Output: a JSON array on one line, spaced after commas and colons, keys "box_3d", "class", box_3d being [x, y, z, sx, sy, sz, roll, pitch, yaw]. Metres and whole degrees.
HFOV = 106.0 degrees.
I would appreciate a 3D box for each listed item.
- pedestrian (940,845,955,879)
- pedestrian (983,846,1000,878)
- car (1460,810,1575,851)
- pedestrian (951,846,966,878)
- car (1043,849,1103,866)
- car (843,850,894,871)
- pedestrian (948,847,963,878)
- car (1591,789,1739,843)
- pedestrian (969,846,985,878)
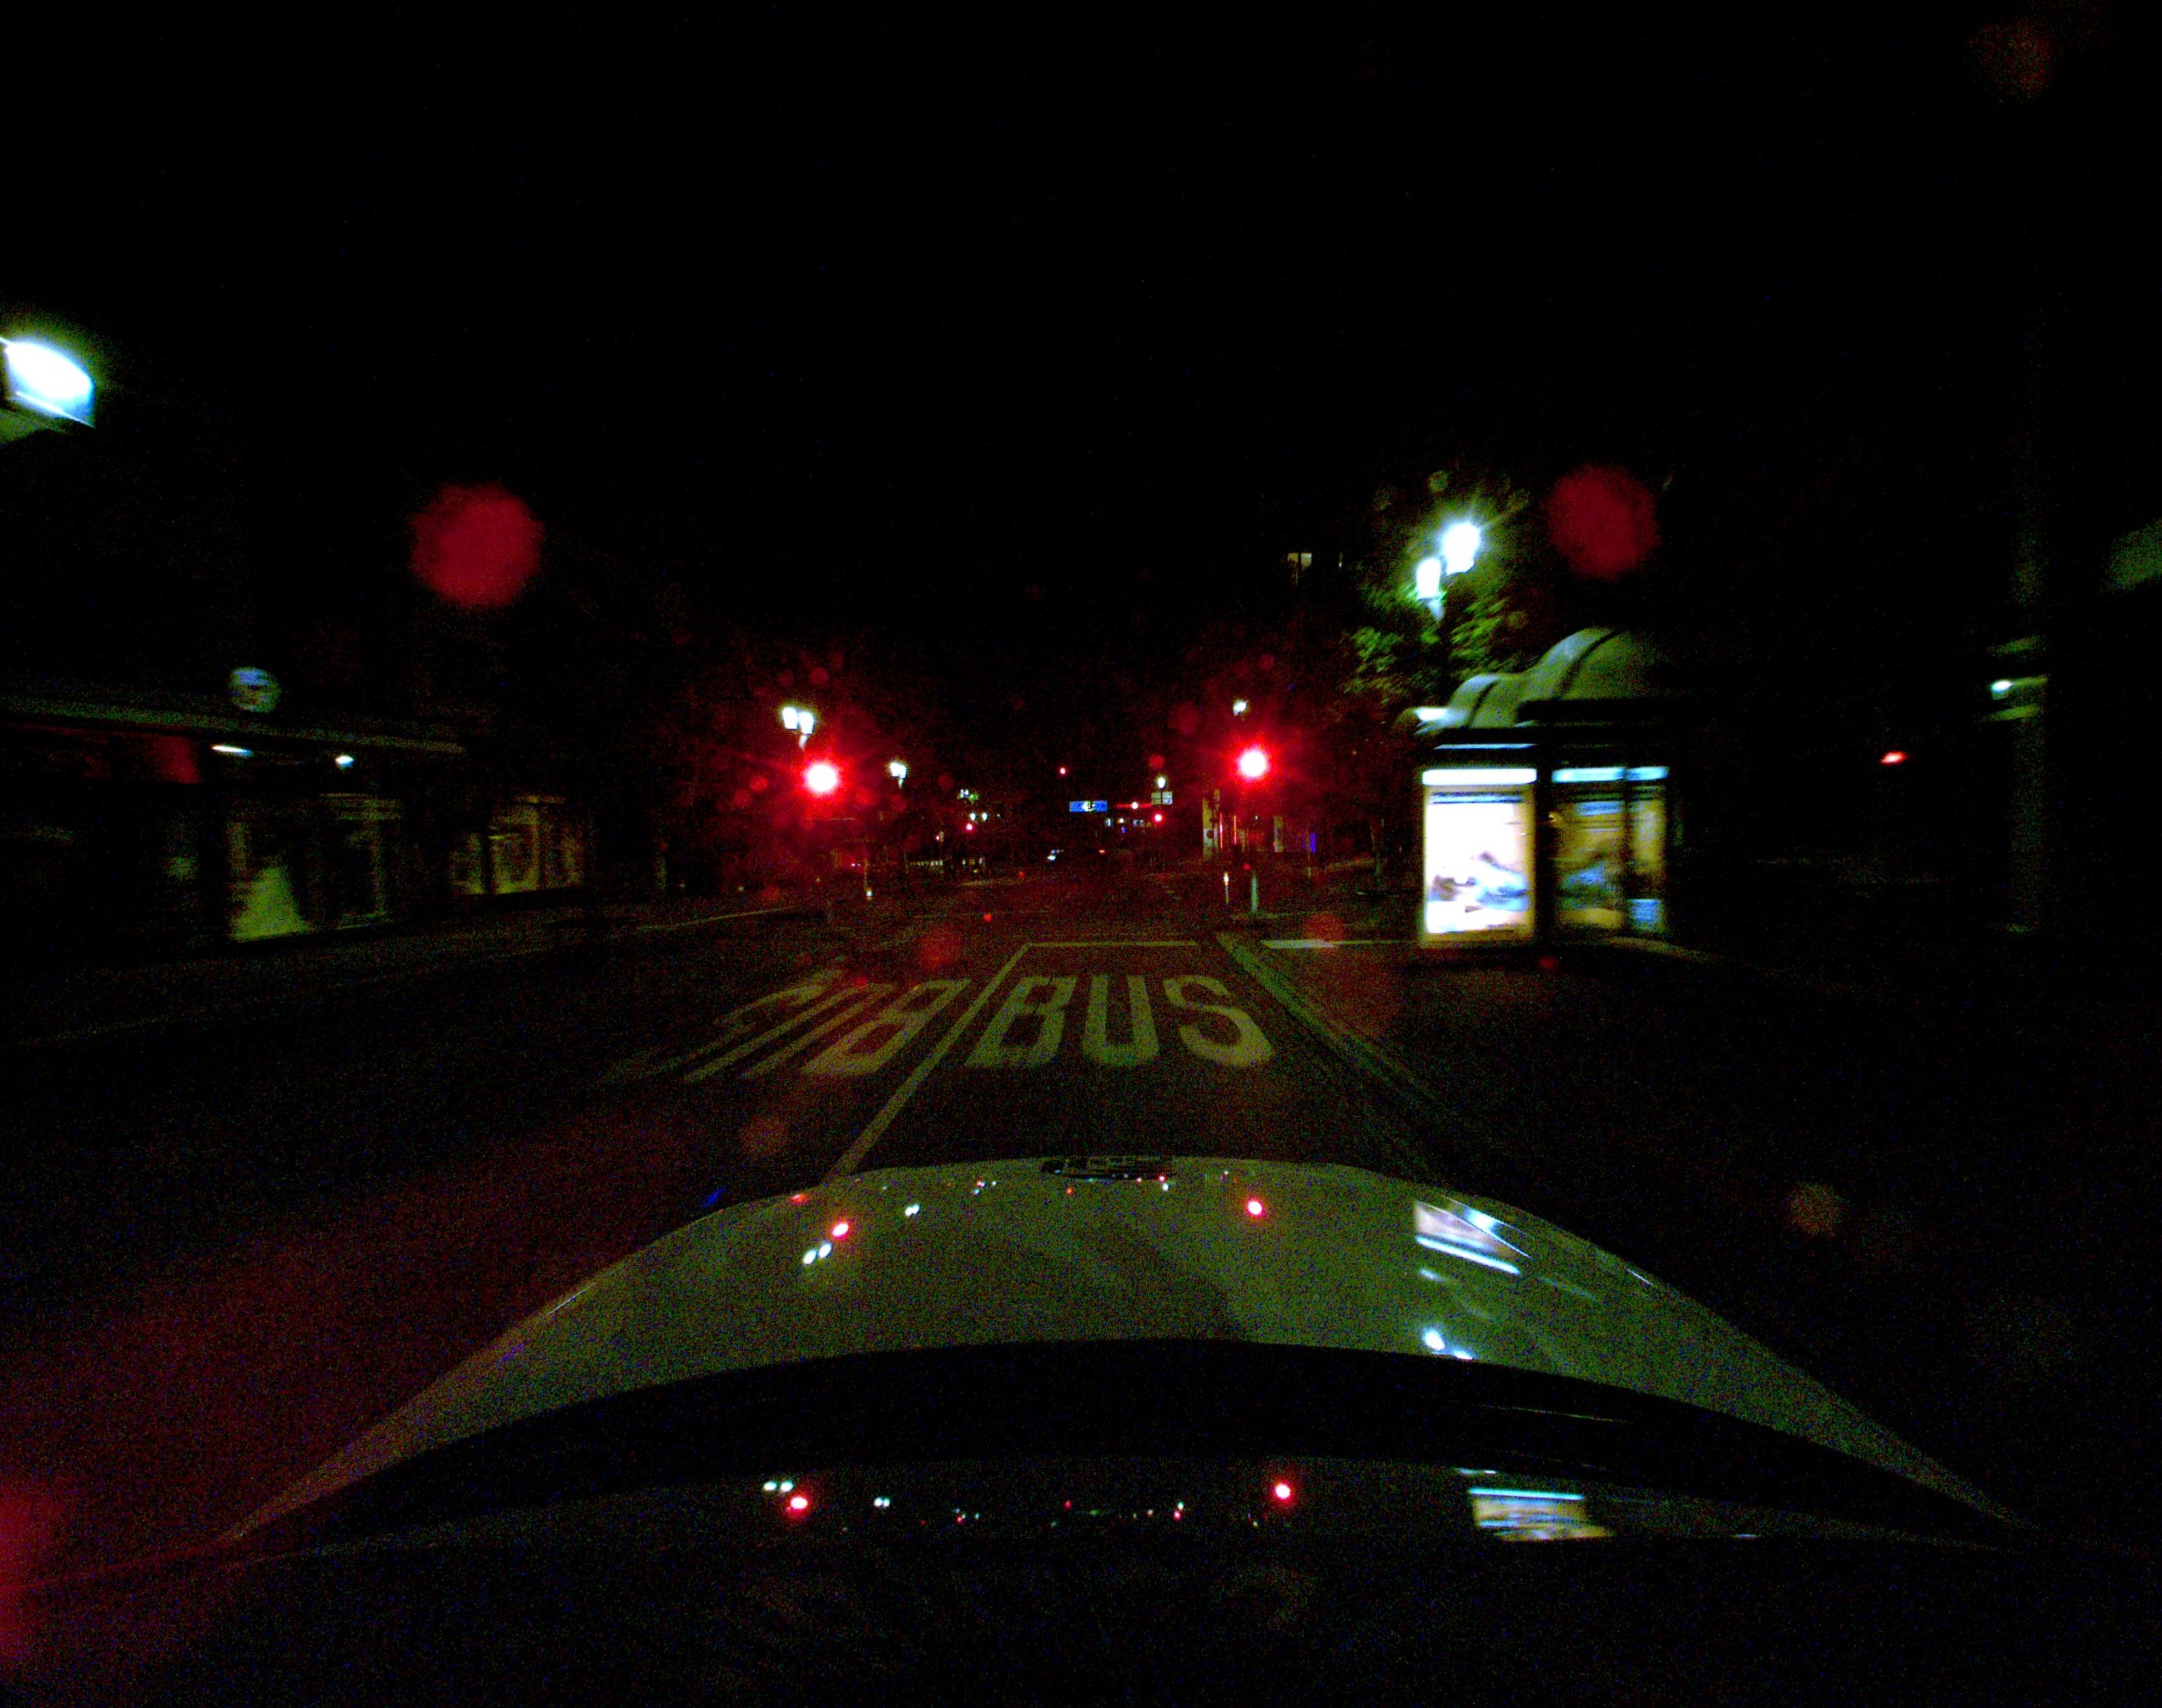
[{"box_3d": [-7.264, 0.431, 44.316, 0.714, 1.795, 0.569, 0, -1, -1], "class": "pedestrian"}, {"box_3d": [-5.041, 0.460, 45.891, 0.739, 1.795, 0.711, 0, -2, -29], "class": "pedestrian"}, {"box_3d": [19.009, -1.029, 35.637, 4.018, 1.452, 1.830, -4, 1, 8], "class": "car"}, {"box_3d": [-6.943, 0.436, 46.218, 0.712, 1.795, 0.571, -1, -2, 9], "class": "pedestrian"}, {"box_3d": [-0.628, 0.307, 64.234, 4.430, 1.297, 1.631, 0, -1, -19], "class": "car"}, {"box_3d": [-16.978, 0.574, 65.122, 3.716, 1.618, 1.846, -1, -2, 30], "class": "car"}, {"box_3d": [-7.322, 0.483, 47.573, 0.712, 1.795, 0.571, -1, -2, 9], "class": "pedestrian"}, {"box_3d": [23.878, -1.495, 33.421, 4.783, 1.910, 2.172, -1, -2, 37], "class": "car"}, {"box_3d": [-5.917, 0.477, 46.374, 0.709, 1.795, 0.573, -1, -2, 31], "class": "pedestrian"}]
